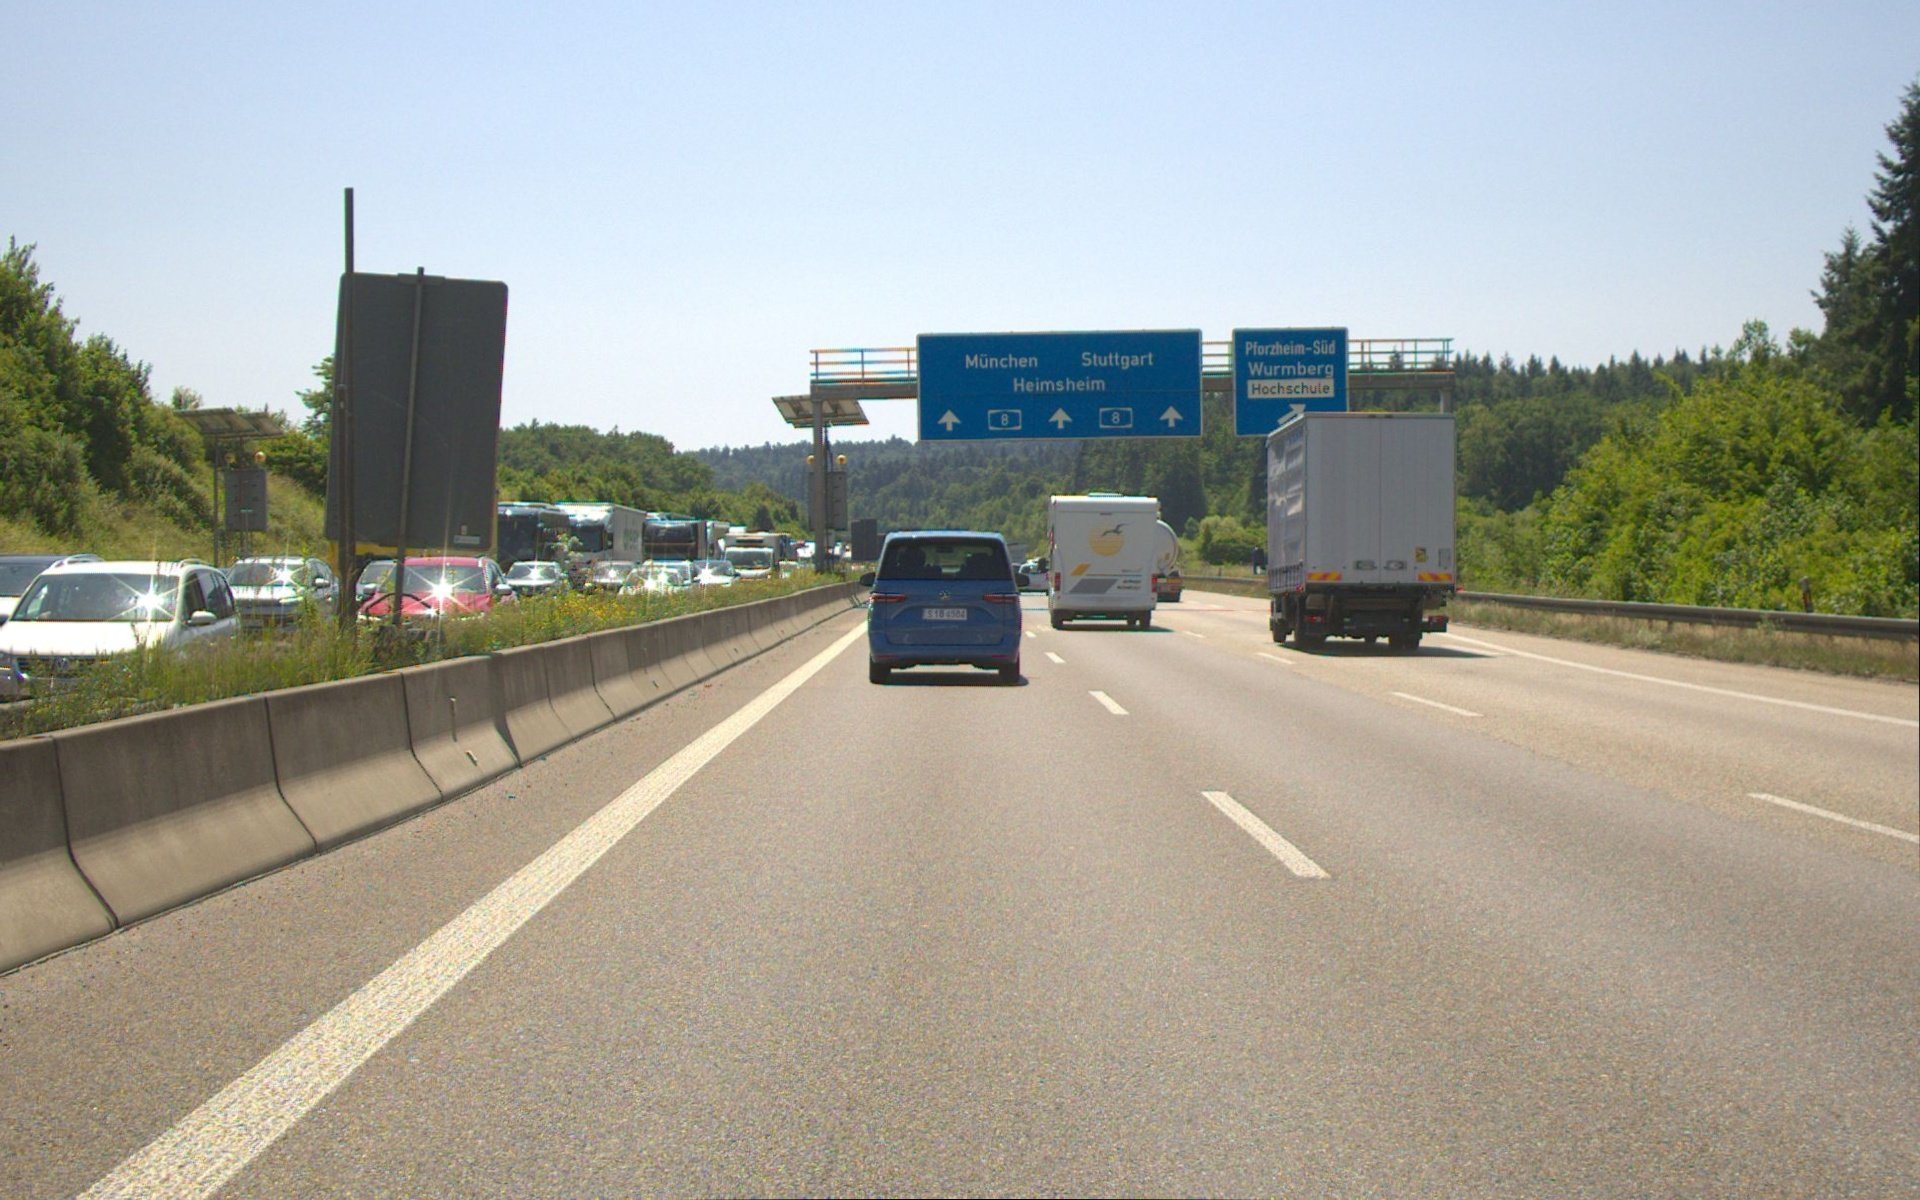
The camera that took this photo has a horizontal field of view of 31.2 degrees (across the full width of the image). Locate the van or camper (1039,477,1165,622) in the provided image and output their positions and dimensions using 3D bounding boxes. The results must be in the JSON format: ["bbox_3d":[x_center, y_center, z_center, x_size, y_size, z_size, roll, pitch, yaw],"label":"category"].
[{"bbox_3d":[3.231,-1.245,79.637,2.603,3.068,7.183,1,3,0],"label":"van or camper"}]

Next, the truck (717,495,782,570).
[{"bbox_3d":[-8.294,-2.634,136.152,2.120,2.832,6.212,1,0,0],"label":"truck"}]

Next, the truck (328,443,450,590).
[{"bbox_3d":[-16.292,-2.329,98.485,2.602,4.050,6.133,1,0,-2],"label":"truck"}]

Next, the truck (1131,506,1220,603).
[{"bbox_3d":[8.299,-1.825,133.390,2.928,3.563,8.526,-1,1,1],"label":"truck"}]

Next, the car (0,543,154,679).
[{"bbox_3d":[-11.884,0.112,44.088,1.811,1.623,5.219,1,0,0],"label":"car"}]

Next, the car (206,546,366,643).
[{"bbox_3d":[-11.843,-0.106,60.720,1.811,1.623,4.908,1,0,0],"label":"car"}]

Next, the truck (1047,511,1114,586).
[{"bbox_3d":[6.867,-2.910,197.210,3.487,4.156,8.642,1,0,0],"label":"truck"}]

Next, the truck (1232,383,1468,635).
[{"bbox_3d":[6.819,-1.527,61.579,2.783,4.114,9.741,1,0,-2],"label":"truck"}]

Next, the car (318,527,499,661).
[{"bbox_3d":[-7.648,-0.097,48.085,1.827,1.758,4.991,1,0,-2],"label":"car"}]

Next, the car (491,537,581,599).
[{"bbox_3d":[-12.394,-0.936,100.896,1.862,1.746,5.901,1,0,0],"label":"car"}]

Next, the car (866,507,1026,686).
[{"bbox_3d":[-0.186,-0.099,43.689,1.909,2.006,4.001,-1,4,-1],"label":"car"}]

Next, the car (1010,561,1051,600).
[{"bbox_3d":[3.248,-0.895,159.467,1.818,1.788,3.894,1,0,0],"label":"car"}]

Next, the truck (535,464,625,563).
[{"bbox_3d":[-16.370,-3.686,148.568,2.782,4.100,7.029,0,0,3],"label":"truck"}]

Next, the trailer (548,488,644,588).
[{"bbox_3d":[-16.225,-2.689,153.971,2.781,4.290,11.710,0,0,1],"label":"trailer"}]

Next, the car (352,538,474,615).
[{"bbox_3d":[-12.102,-0.523,76.341,1.811,1.623,5.382,1,0,0],"label":"car"}]

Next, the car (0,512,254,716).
[{"bbox_3d":[-8.018,0.102,32.351,1.827,1.758,4.991,1,0,-2],"label":"car"}]

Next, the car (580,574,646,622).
[{"bbox_3d":[-11.978,-0.085,118.976,1.775,1.607,4.558,1,0,0],"label":"car"}]
